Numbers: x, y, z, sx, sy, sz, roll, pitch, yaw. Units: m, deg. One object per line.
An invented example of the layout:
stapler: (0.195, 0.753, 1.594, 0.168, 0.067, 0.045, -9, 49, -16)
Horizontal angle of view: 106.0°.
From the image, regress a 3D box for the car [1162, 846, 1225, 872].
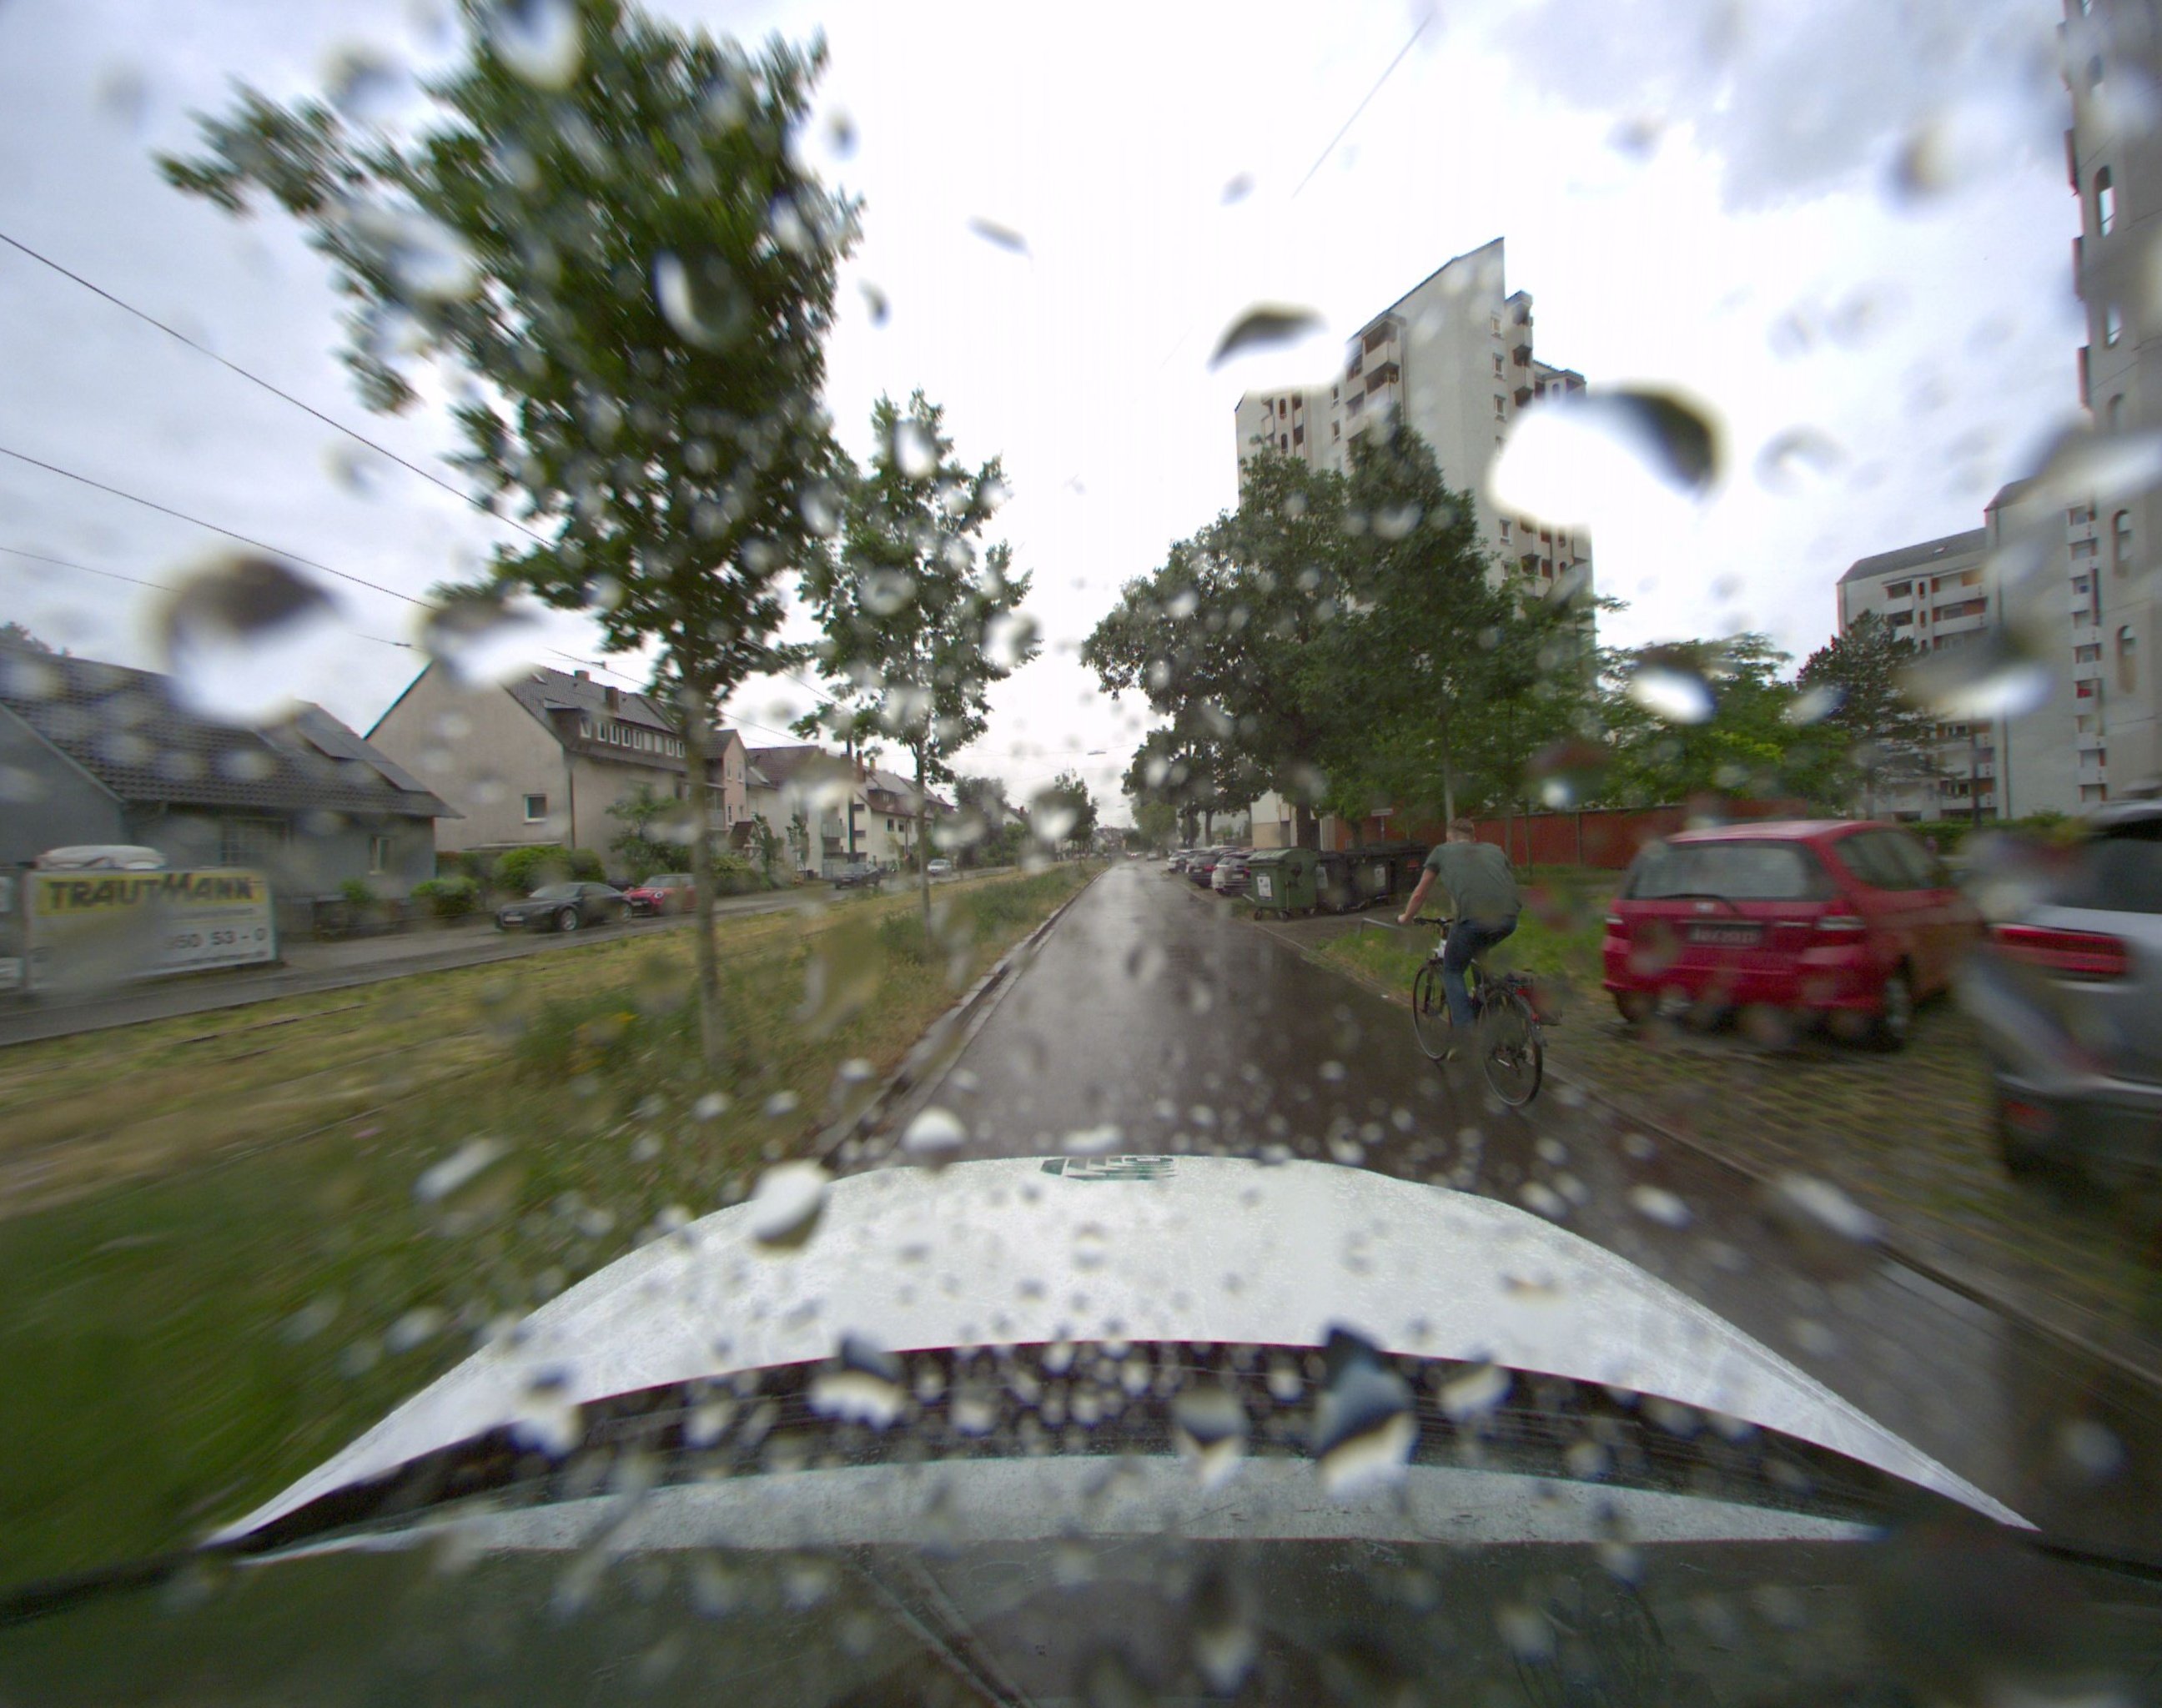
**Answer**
car: (7.482, 0.348, 53.969, 4.058, 1.513, 1.568, -3, 0, -35)

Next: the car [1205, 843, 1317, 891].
car: (6.685, 0.460, 30.108, 4.056, 1.519, 1.569, -3, 0, -33)

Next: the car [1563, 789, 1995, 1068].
car: (5.852, 0.383, 6.698, 3.903, 1.567, 1.714, -5, 1, -35)

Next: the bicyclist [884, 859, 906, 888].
bicyclist: (-11.267, 1.152, 49.355, 1.014, 1.685, 1.092, -3, 0, 2)

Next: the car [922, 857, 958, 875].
car: (-12.303, 1.045, 71.370, 1.887, 1.469, 4.694, 0, 0, 5)

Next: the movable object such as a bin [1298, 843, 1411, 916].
movable object such as a bin: (5.732, 0.505, 17.135, 1.687, 1.326, 1.392, -5, 1, -19)

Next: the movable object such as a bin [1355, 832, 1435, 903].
movable object such as a bin: (7.193, 0.305, 18.707, 1.250, 1.520, 1.079, -4, 0, -26)

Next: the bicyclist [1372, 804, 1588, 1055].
bicyclist: (2.531, 0.439, 5.306, 0.807, 1.432, 1.059, -3, 0, -1)

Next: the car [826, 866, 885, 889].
car: (-13.571, 1.372, 49.328, 1.887, 1.244, 4.694, 0, 0, 5)

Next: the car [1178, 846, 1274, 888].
car: (5.836, 0.507, 32.627, 4.063, 1.443, 1.566, -3, 0, -42)

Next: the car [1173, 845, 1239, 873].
car: (7.874, 0.325, 51.112, 4.058, 1.540, 1.568, -3, 0, -35)

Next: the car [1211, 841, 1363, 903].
car: (6.043, 0.491, 23.752, 4.243, 1.519, 1.858, -3, 0, -33)

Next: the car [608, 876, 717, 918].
car: (-14.579, 1.479, 28.613, 1.667, 1.244, 3.858, 0, 0, 3)

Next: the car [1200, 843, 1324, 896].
car: (6.027, 0.486, 26.984, 4.056, 1.519, 1.569, -3, 0, -33)

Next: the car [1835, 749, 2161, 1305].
car: (5.247, 0.375, 3.346, 4.162, 1.719, 1.980, -6, 1, -30)

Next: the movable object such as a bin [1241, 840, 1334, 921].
movable object such as a bin: (4.245, 0.536, 16.858, 1.129, 1.457, 1.392, -8, 2, -19)

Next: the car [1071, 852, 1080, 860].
car: (-1.282, 0.470, 190.213, 1.835, 1.672, 4.003, -3, 0, 2)

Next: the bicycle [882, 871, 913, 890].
bicycle: (-11.226, 1.591, 49.943, 1.014, 1.027, 3.198, -3, 0, 2)

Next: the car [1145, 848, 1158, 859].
car: (10.753, -0.084, 124.075, 1.826, 1.586, 4.003, -3, 0, 2)

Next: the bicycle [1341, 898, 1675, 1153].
bicycle: (2.553, 0.930, 5.356, 0.807, 1.096, 2.516, -3, 0, -1)

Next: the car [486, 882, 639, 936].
car: (-14.734, 1.523, 23.427, 1.657, 1.244, 4.074, 0, 0, 2)

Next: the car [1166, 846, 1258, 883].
car: (5.911, 0.459, 36.478, 4.058, 1.443, 1.568, -3, 0, -35)

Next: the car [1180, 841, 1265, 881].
car: (6.871, 0.323, 39.469, 4.058, 1.703, 1.568, -3, 0, -35)
